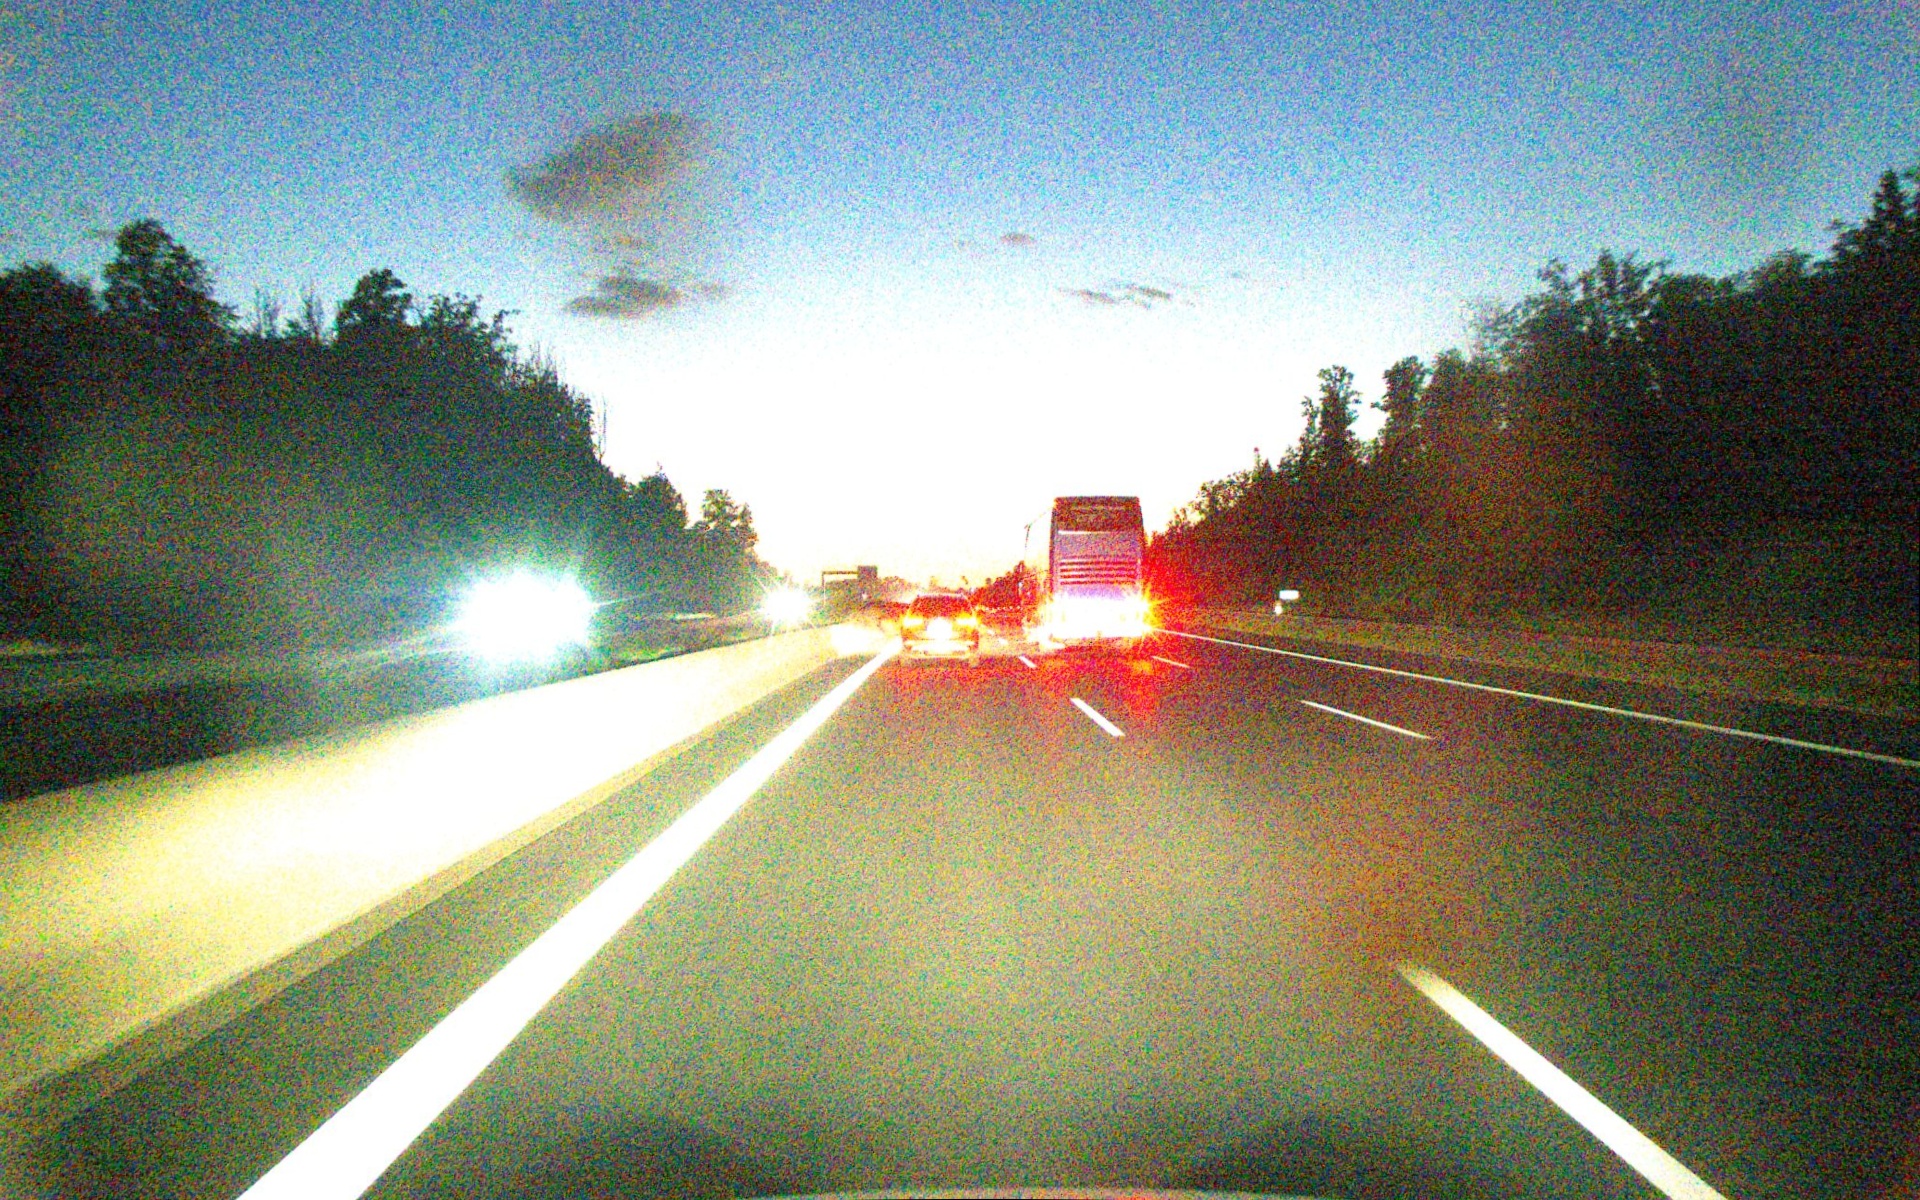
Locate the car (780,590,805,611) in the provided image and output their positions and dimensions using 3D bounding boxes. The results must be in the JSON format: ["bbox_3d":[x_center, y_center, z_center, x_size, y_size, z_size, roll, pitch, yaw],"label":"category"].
[{"bbox_3d":[-15.517,0.029,153.347,1.952,1.807,5.169,1,0,-2],"label":"car"}]

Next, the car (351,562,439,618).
[{"bbox_3d":[-21.006,-0.359,61.680,1.953,1.959,3.998,-2,0,-2],"label":"car"}]

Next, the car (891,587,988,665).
[{"bbox_3d":[-0.512,0.579,37.551,2.063,1.646,4.202,-1,-1,-2],"label":"car"}]

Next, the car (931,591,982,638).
[{"bbox_3d":[-0.168,0.580,65.787,1.873,1.760,3.998,-2,-1,-2],"label":"car"}]

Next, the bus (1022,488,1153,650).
[{"bbox_3d":[3.492,-0.700,49.180,2.598,4.064,14.699,-1,-1,0],"label":"bus"}]

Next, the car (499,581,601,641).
[{"bbox_3d":[-11.715,0.286,47.570,1.894,1.589,4.452,1,0,-2],"label":"car"}]

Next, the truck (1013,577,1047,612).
[{"bbox_3d":[6.190,-0.442,146.413,2.550,2.926,7.483,0,-1,-1],"label":"truck"}]
